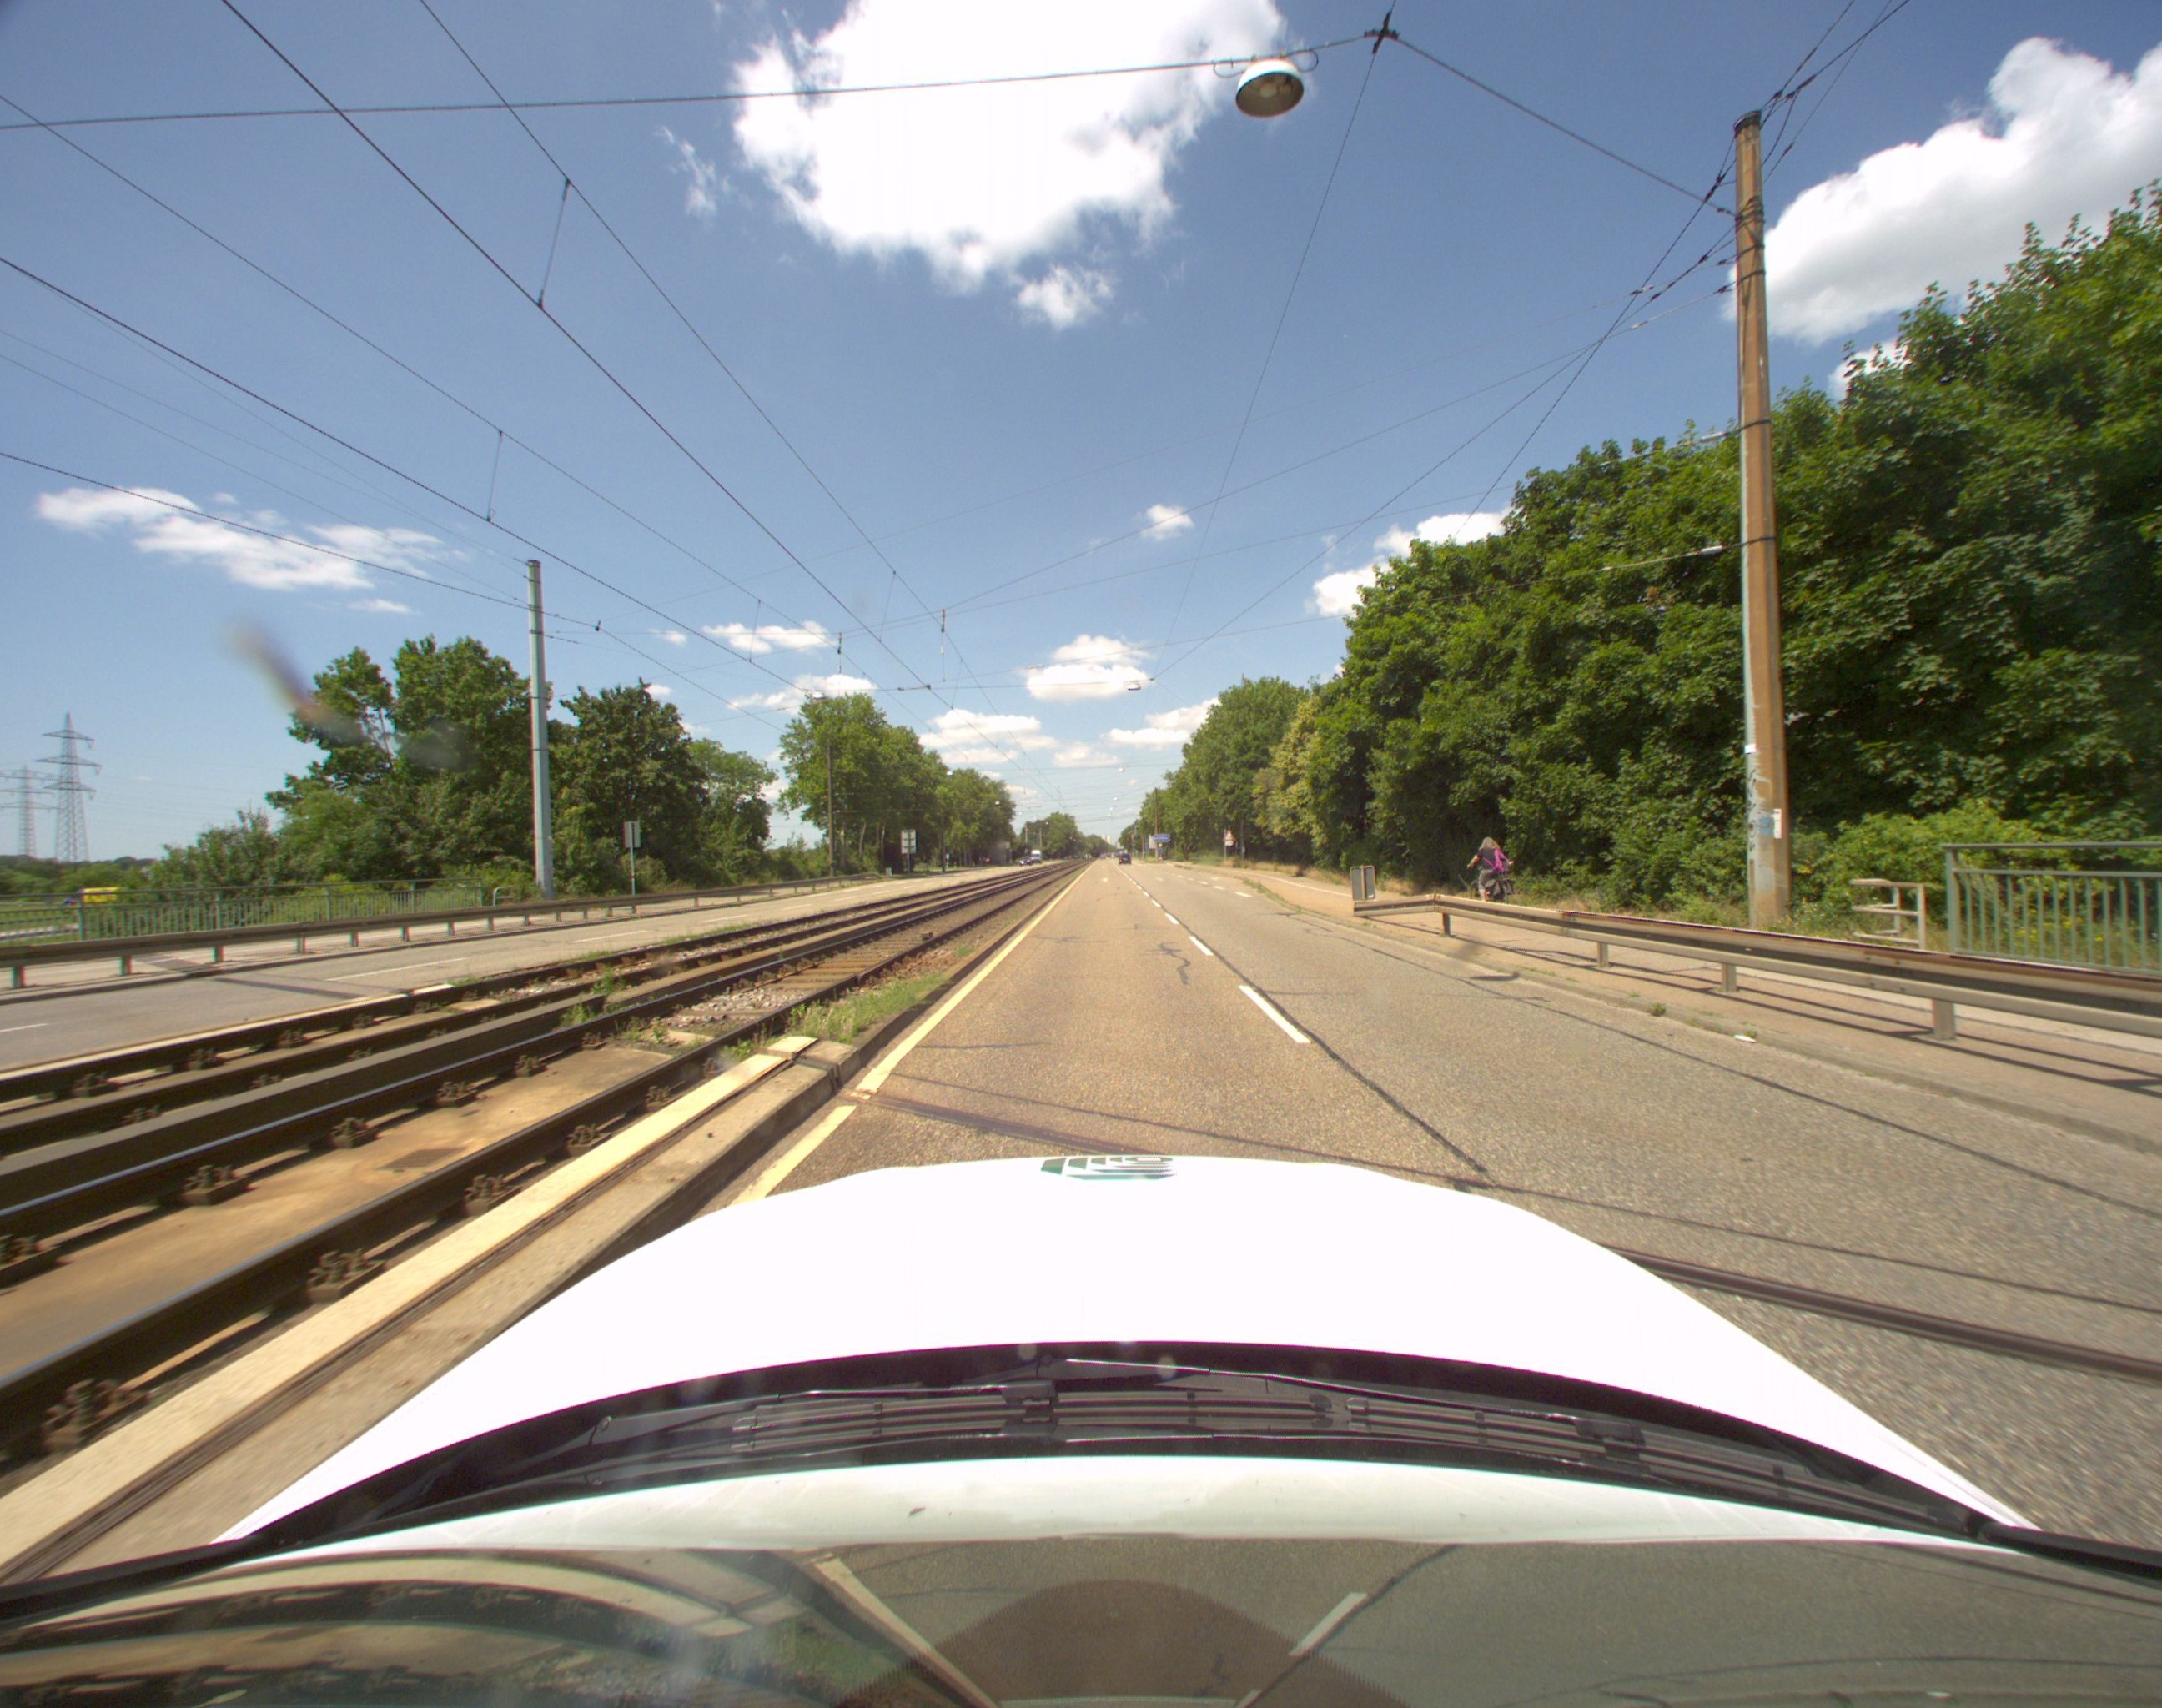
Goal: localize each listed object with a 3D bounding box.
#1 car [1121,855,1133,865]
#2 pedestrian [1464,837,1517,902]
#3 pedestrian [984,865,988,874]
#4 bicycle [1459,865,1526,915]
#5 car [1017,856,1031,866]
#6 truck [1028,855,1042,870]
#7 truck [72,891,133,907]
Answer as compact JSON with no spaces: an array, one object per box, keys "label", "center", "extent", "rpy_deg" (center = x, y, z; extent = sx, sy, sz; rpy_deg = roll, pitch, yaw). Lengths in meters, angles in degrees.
[{"label":"car","center":[6.593,0.814,117.483],"extent":[1.581,1.343,3.272],"rpy_deg":[-2,1,0]},{"label":"pedestrian","center":[8.997,0.335,17.918],"extent":[0.625,1.374,1.051],"rpy_deg":[-2,0,2]},{"label":"pedestrian","center":[-16.712,2.682,143.610],"extent":[0.512,1.551,0.703],"rpy_deg":[-3,0,-4]},{"label":"bicycle","center":[9.014,0.761,17.903],"extent":[0.557,1.024,1.848],"rpy_deg":[-2,0,2]},{"label":"car","center":[-9.626,1.225,137.113],"extent":[1.811,1.514,4.429],"rpy_deg":[-3,0,2]},{"label":"truck","center":[-9.193,1.651,162.839],"extent":[2.046,2.939,6.322],"rpy_deg":[-3,0,2]},{"label":"truck","center":[-126.712,5.826,105.483],"extent":[4.792,1.768,1.943],"rpy_deg":[0,1,-13]}]
